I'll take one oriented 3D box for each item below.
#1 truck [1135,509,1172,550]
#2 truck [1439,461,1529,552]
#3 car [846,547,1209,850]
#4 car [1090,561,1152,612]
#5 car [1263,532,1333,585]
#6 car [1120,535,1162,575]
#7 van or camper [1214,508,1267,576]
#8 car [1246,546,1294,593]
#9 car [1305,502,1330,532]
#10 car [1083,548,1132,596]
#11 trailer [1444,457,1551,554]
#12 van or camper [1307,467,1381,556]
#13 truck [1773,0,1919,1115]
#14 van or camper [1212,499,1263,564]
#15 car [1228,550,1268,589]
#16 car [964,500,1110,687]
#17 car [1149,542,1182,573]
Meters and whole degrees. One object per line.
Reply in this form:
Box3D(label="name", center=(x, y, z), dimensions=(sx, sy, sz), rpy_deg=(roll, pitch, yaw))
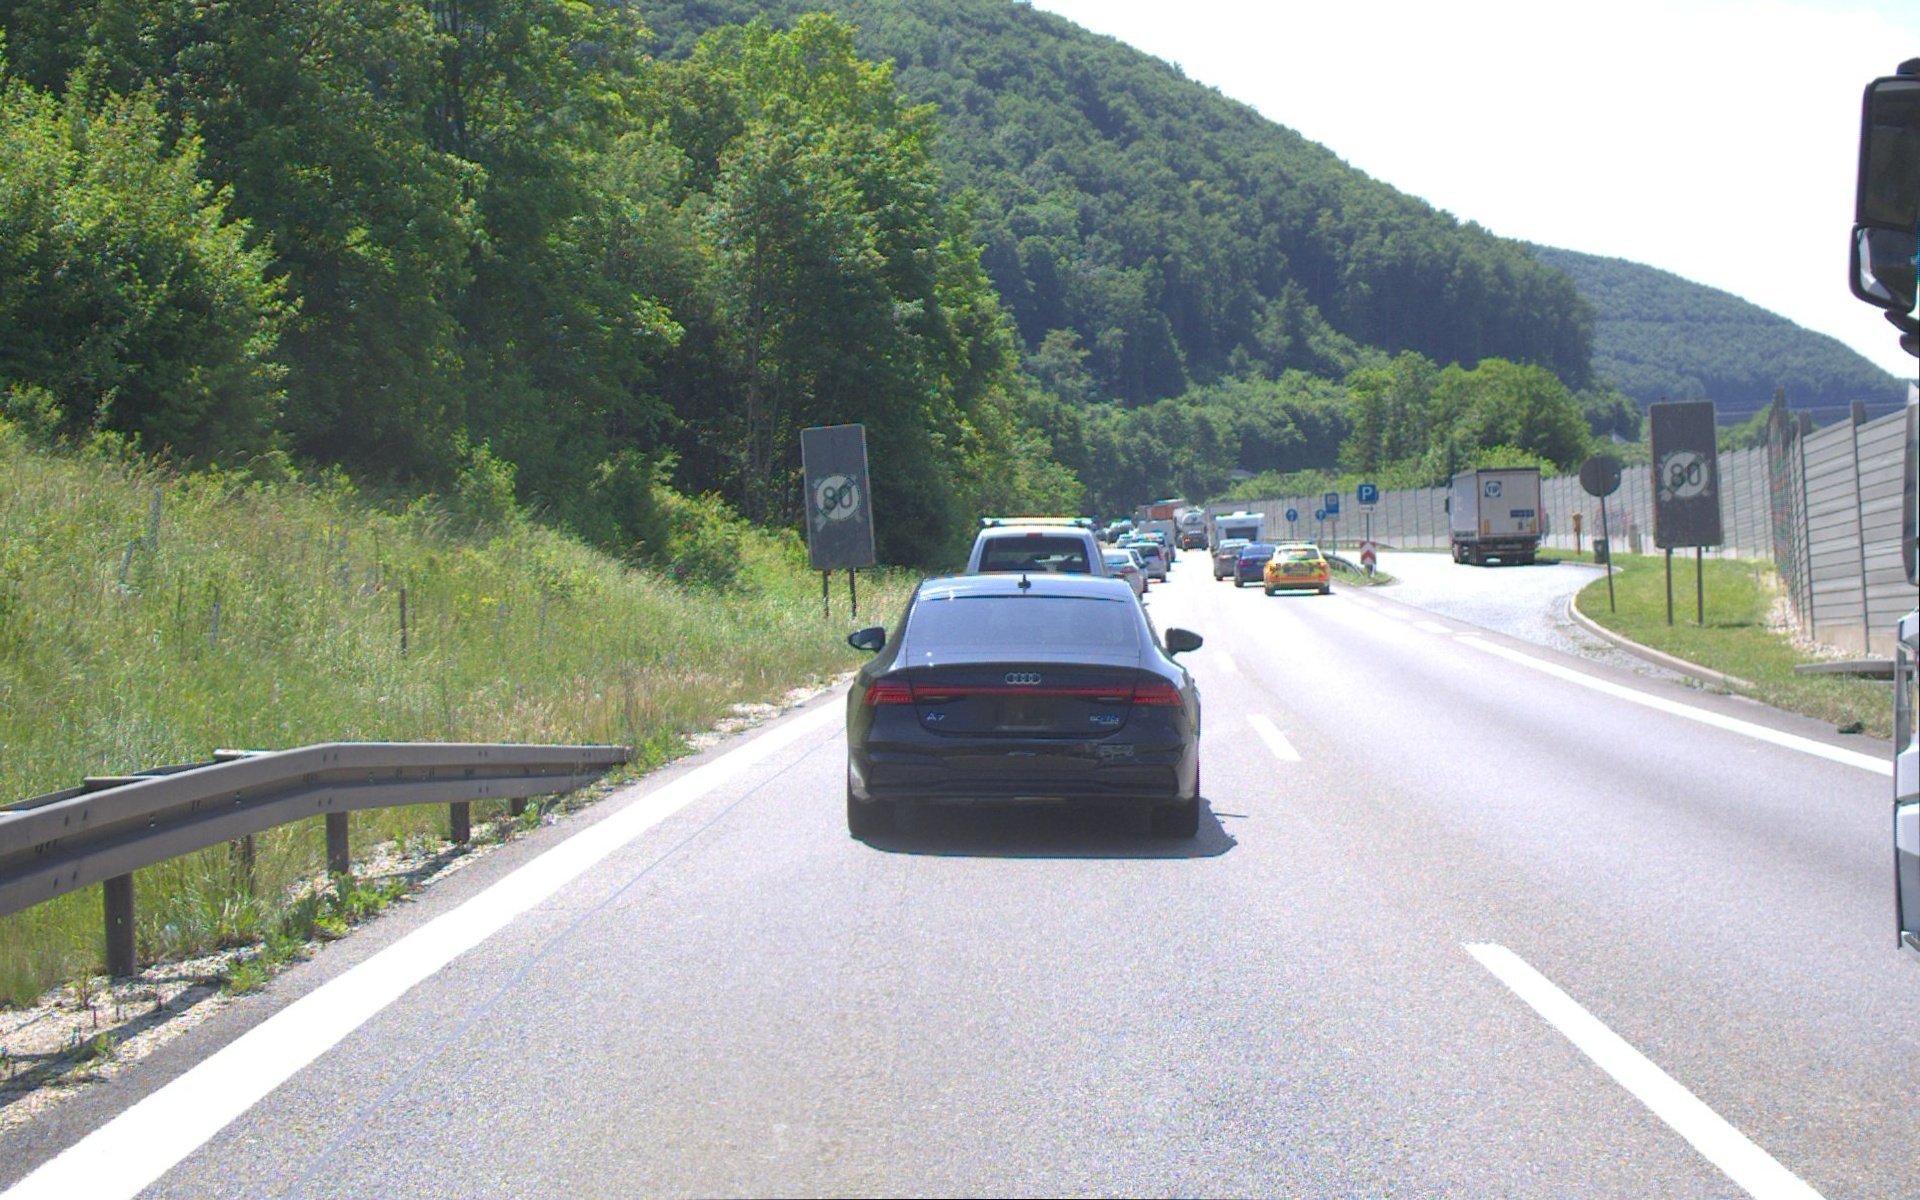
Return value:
Box3D(label="truck", center=(12.556, -4.561, 223.051), dimensions=(2.065, 2.596, 5.613), rpy_deg=(2, 1, 6))
Box3D(label="truck", center=(23.013, -4.089, 151.229), dimensions=(3.412, 3.887, 5.387), rpy_deg=(-1, 1, 4))
Box3D(label="car", center=(0.321, 0.474, 19.088), dimensions=(1.812, 1.509, 3.514), rpy_deg=(1, 1, -1))
Box3D(label="car", center=(4.244, -0.364, 90.888), dimensions=(1.521, 1.290, 3.514), rpy_deg=(1, 1, 1))
Box3D(label="car", center=(9.782, -1.210, 99.700), dimensions=(1.879, 1.493, 4.000), rpy_deg=(-1, 1, 4))
Box3D(label="car", center=(7.302, -1.803, 138.524), dimensions=(1.521, 1.547, 3.514), rpy_deg=(2, 1, 5))
Box3D(label="van or camper", center=(13.308, -2.742, 163.512), dimensions=(2.430, 3.144, 5.203), rpy_deg=(1, 0, 4))
Box3D(label="car", center=(10.396, -1.023, 115.518), dimensions=(1.530, 1.520, 3.596), rpy_deg=(1, 0, 4))
Box3D(label="car", center=(24.314, -5.635, 233.972), dimensions=(1.576, 2.007, 3.427), rpy_deg=(-1, 1, 4))
Box3D(label="car", center=(4.990, -0.960, 115.996), dimensions=(1.521, 1.547, 3.514), rpy_deg=(2, 1, 4))
Box3D(label="trailer", center=(22.595, -3.948, 145.055), dimensions=(3.412, 3.887, 11.150), rpy_deg=(-1, 1, 4))
Box3D(label="van or camper", center=(17.255, -3.935, 154.839), dimensions=(2.795, 3.828, 6.167), rpy_deg=(1, 0, 2))
Box3D(label="truck", center=(4.048, -0.602, 8.095), dimensions=(2.719, 4.054, 5.755), rpy_deg=(0, 0, -2))
Box3D(label="van or camper", center=(17.013, -4.175, 211.397), dimensions=(2.795, 3.894, 6.167), rpy_deg=(1, 0, 2))
Box3D(label="car", center=(11.353, -1.200, 135.623), dimensions=(1.530, 1.520, 3.596), rpy_deg=(1, 0, 4))
Box3D(label="car", center=(0.848, -0.092, 38.700), dimensions=(1.521, 1.961, 3.514), rpy_deg=(2, 1, 1))
Box3D(label="car", center=(10.498, -2.174, 175.878), dimensions=(1.521, 1.547, 3.514), rpy_deg=(2, 1, 5))
